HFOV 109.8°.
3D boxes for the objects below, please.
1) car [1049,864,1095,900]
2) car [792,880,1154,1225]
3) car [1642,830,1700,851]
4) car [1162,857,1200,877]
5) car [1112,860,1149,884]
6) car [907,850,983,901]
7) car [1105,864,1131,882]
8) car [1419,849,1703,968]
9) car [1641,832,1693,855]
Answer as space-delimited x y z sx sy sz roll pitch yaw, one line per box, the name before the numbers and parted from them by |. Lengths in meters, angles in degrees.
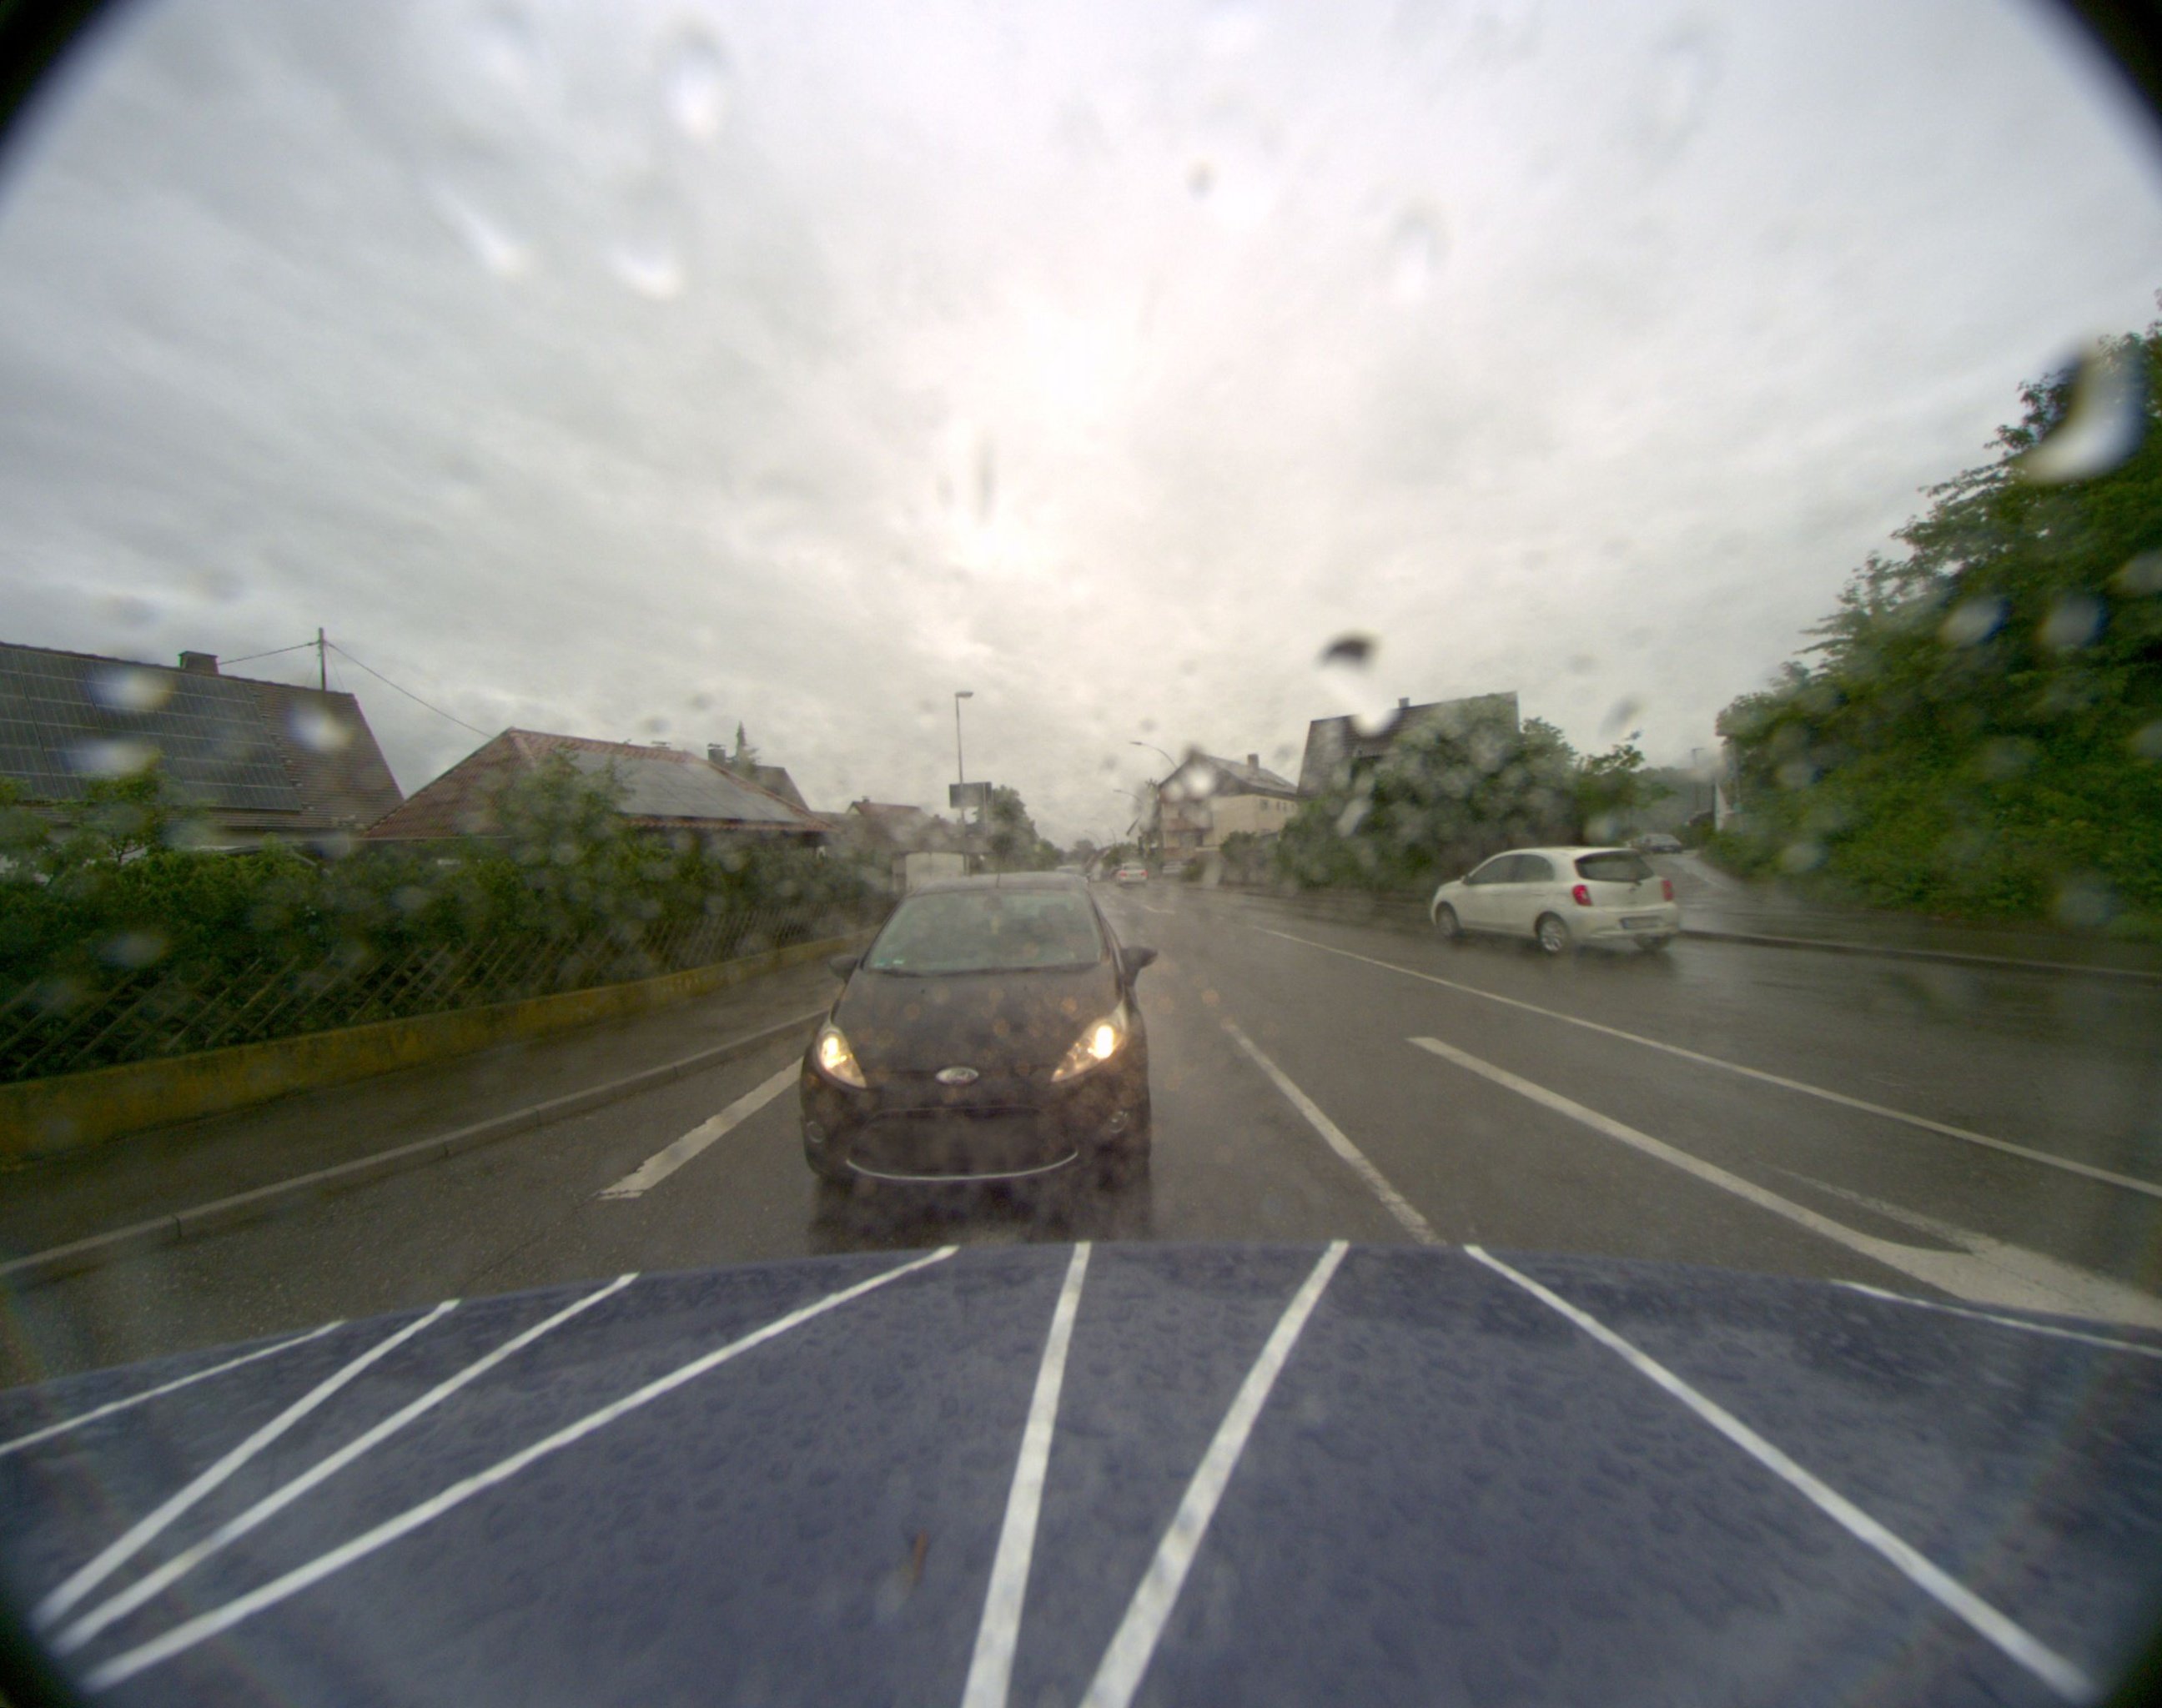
car | -0.473 1.229 34.684 1.899 1.474 3.999 -2 0 -3
car | -0.556 1.013 5.594 1.666 1.410 3.931 -2 1 -1
car | 45.593 -1.004 58.845 1.997 1.477 4.004 -3 0 13
car | 8.825 1.111 66.880 1.661 1.538 4.007 -2 1 34
car | 3.284 1.193 51.343 1.669 1.496 4.319 -3 0 -6
car | -6.857 1.048 38.683 1.650 2.337 4.007 -2 0 27
car | 3.300 1.694 69.117 1.670 1.430 4.105 0 0 -8
car | 7.090 0.709 11.739 1.625 1.496 3.820 -1 0 -8
car | 40.796 -0.740 52.985 1.895 1.474 4.007 -2 0 24
